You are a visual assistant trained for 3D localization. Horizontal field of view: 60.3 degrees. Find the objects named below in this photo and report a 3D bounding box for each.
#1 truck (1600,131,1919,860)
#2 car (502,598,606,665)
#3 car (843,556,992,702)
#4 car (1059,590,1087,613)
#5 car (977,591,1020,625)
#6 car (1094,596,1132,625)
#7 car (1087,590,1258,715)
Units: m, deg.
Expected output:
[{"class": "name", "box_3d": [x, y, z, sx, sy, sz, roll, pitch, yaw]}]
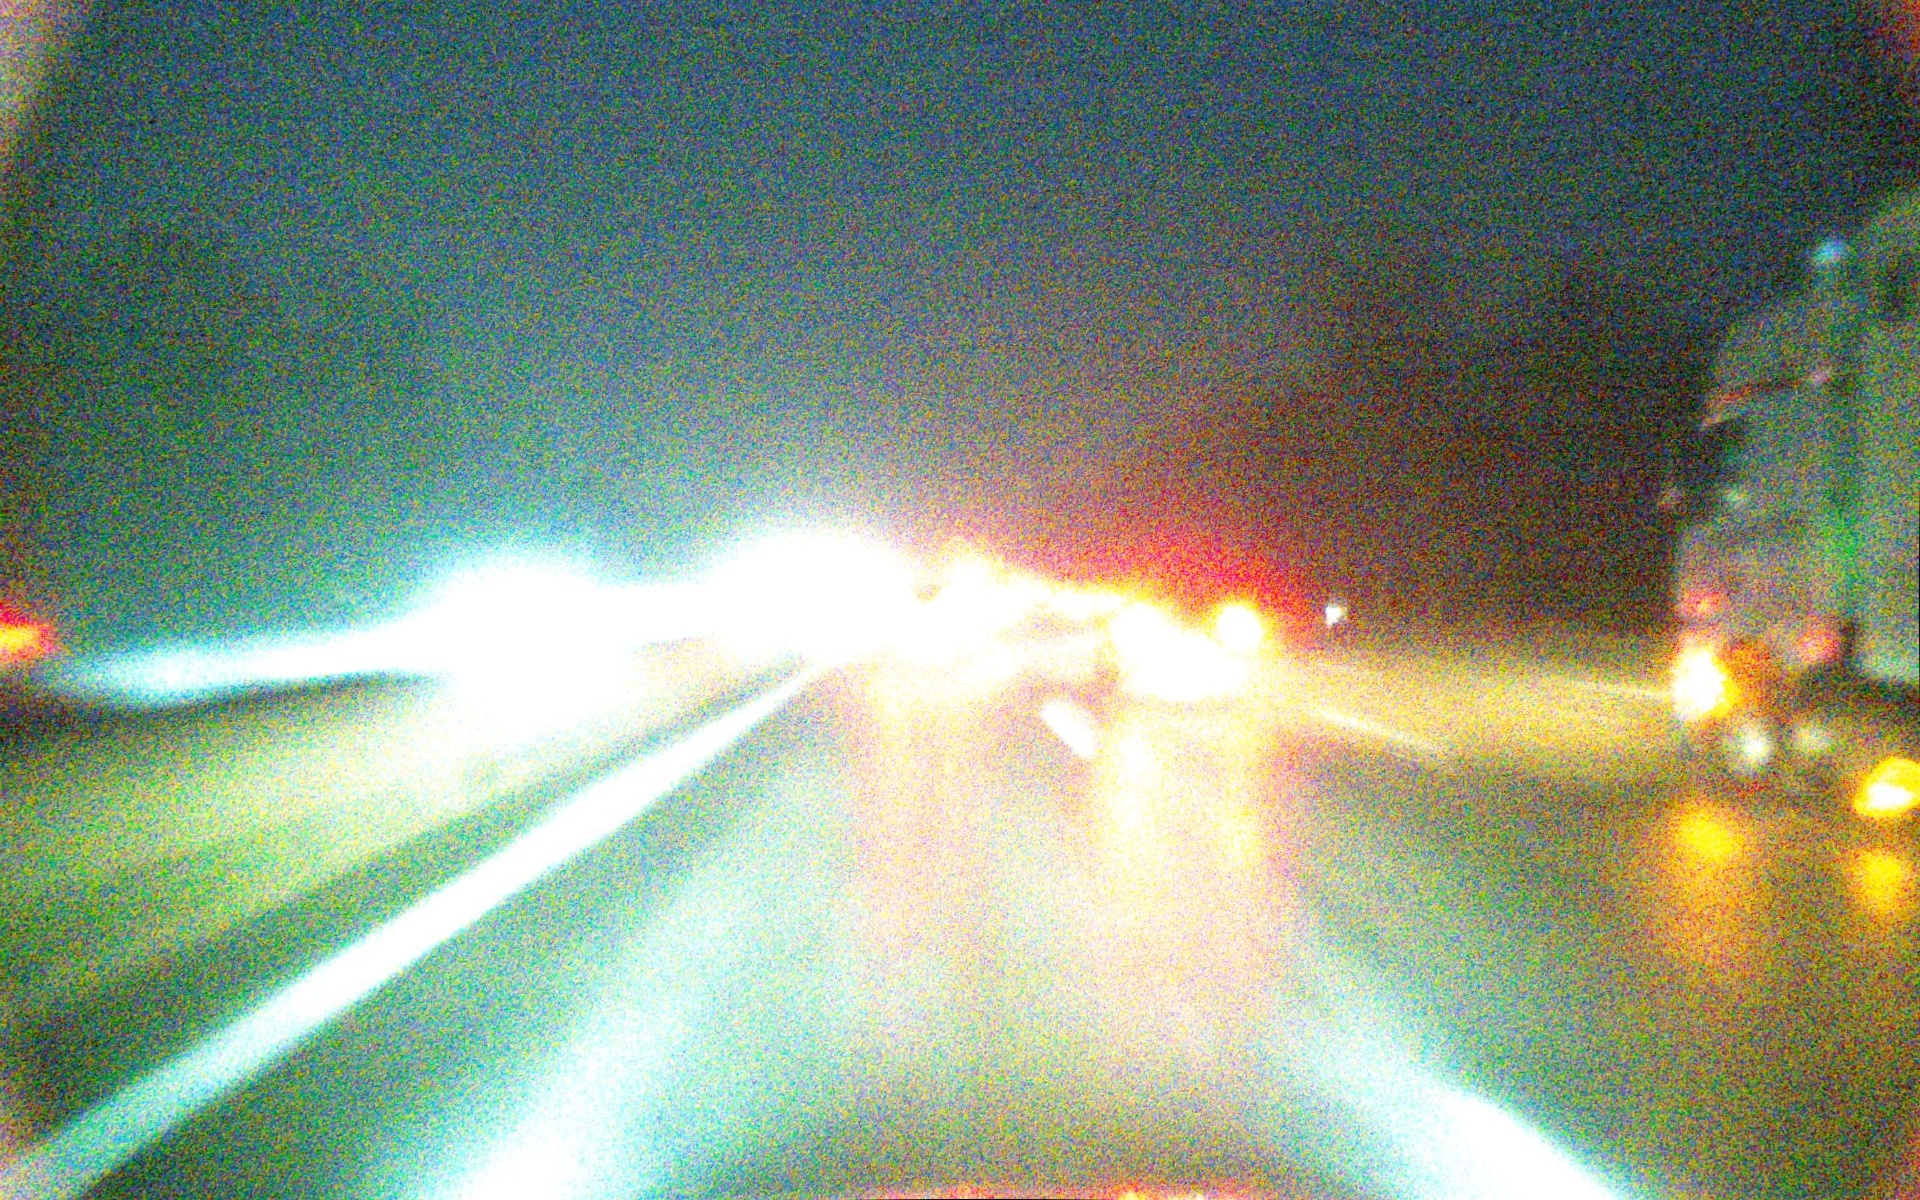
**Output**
[{"class": "truck", "box_3d": [7.069, -0.619, 10.803, 2.747, 4.341, 7.446, 1, 0, -1]}, {"class": "car", "box_3d": [-10.339, 0.775, 42.355, 1.675, 1.591, 4.294, -1, 0, -1]}, {"class": "car", "box_3d": [-0.902, 0.495, 33.314, 2.655, 2.578, 5.828, -2, 1, -3]}, {"class": "car", "box_3d": [8.252, 0.113, 120.905, 1.818, 1.646, 4.000, 1, 0, 0]}, {"class": "car", "box_3d": [1.945, 0.410, 84.612, 2.093, 1.646, 4.000, 1, 0, 0]}, {"class": "car", "box_3d": [8.901, 0.601, 96.507, 1.818, 1.646, 4.000, 1, 0, 0]}, {"class": "car", "box_3d": [2.929, 0.674, 23.629, 1.846, 1.616, 3.999, 1, 0, -1]}]
